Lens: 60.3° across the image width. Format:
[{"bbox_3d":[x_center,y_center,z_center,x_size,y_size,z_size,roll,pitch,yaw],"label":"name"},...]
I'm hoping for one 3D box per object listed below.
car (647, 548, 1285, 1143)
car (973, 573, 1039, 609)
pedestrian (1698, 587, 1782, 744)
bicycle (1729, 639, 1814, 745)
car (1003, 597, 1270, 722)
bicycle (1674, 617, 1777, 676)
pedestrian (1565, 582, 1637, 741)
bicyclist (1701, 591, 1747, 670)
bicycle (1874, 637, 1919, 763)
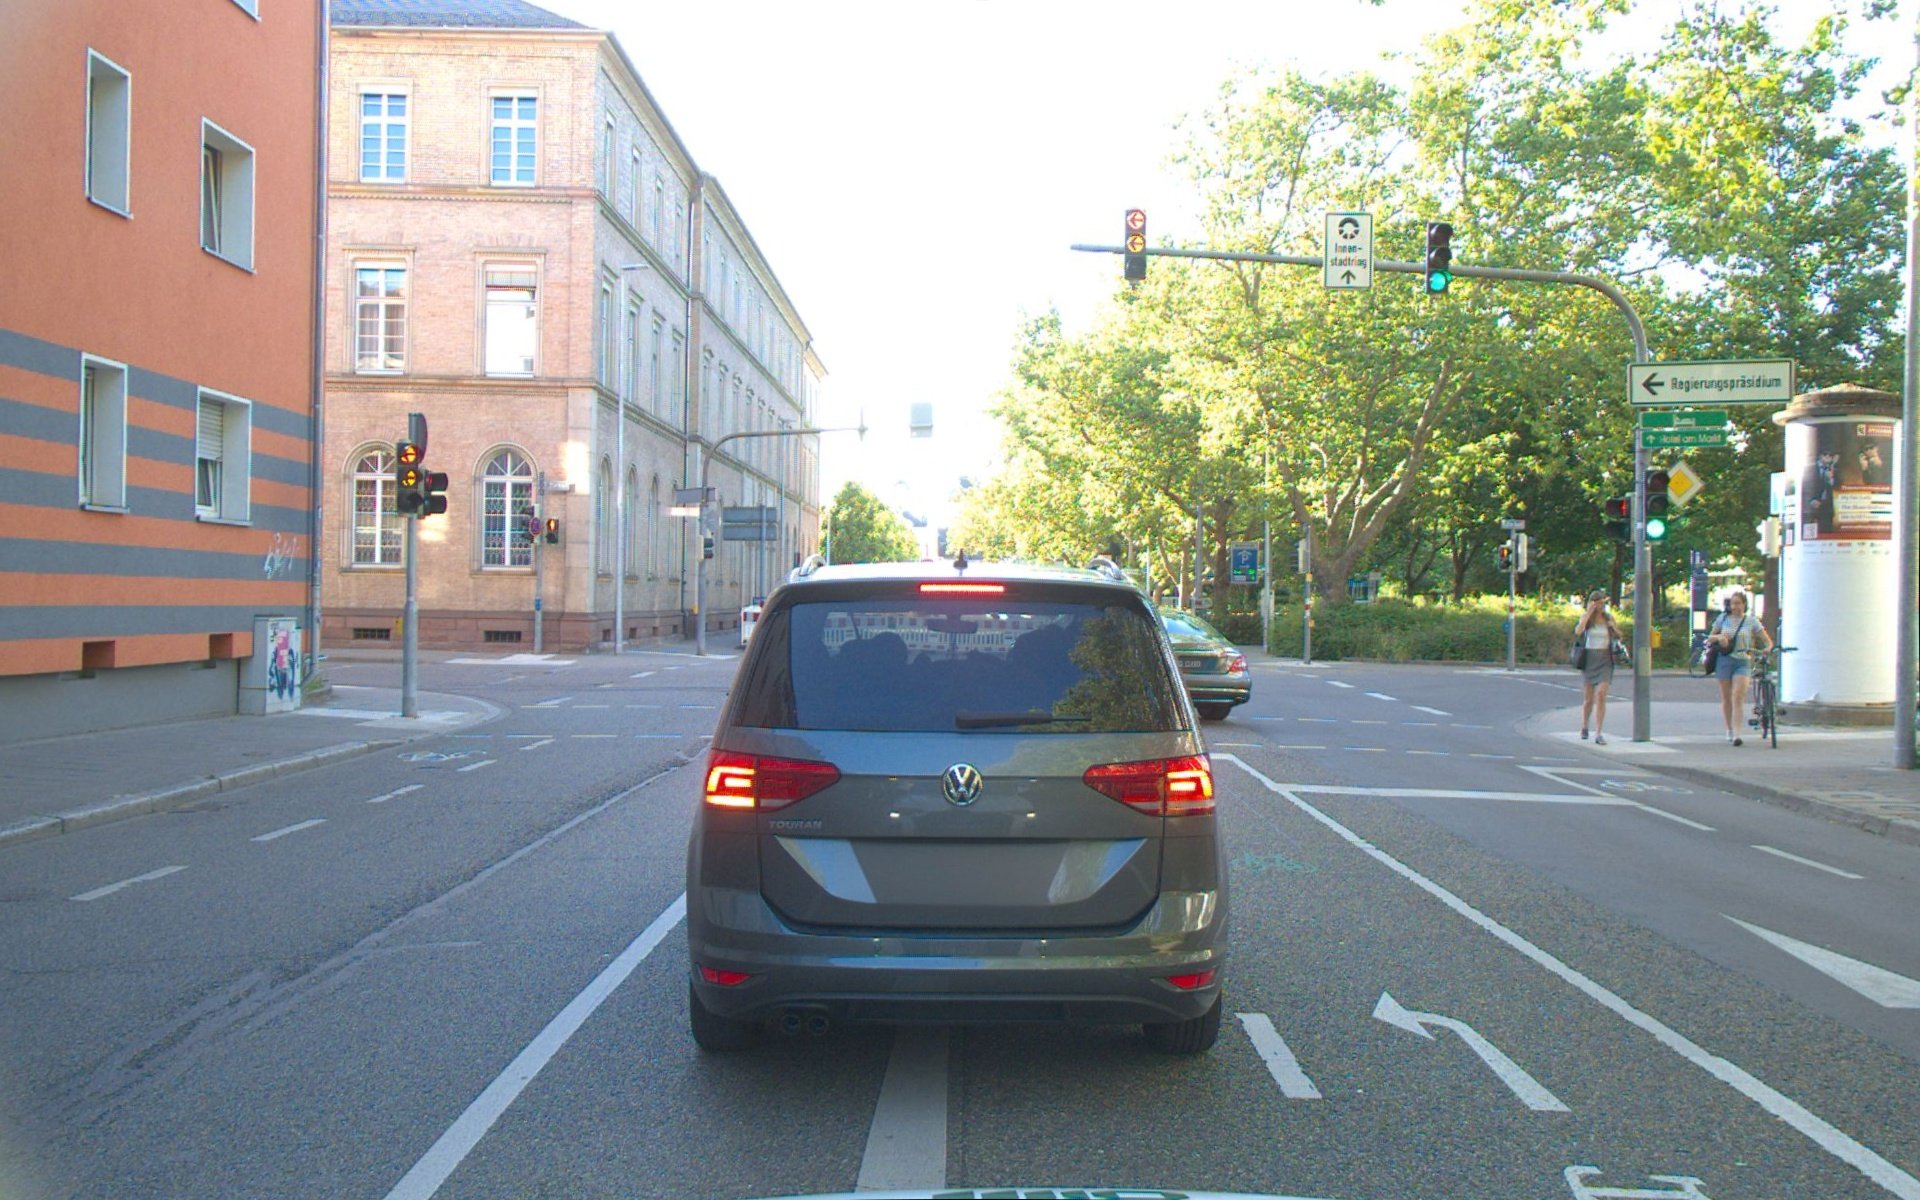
[{"bbox_3d":[0.079,0.688,6.620,1.772,1.640,4.001,0,0,2],"label":"car"},{"bbox_3d":[2.414,-0.492,86.949,1.694,1.639,3.866,5,0,-28],"label":"car"},{"bbox_3d":[8.891,0.726,18.891,0.668,1.727,0.971,1,0,15],"label":"pedestrian"},{"bbox_3d":[9.272,1.025,18.940,0.513,1.119,1.742,1,0,15],"label":"bicycle"},{"bbox_3d":[2.185,0.719,21.874,1.814,1.454,4.494,2,0,-18],"label":"car"},{"bbox_3d":[17.048,1.039,36.862,1.989,1.242,0.599,1,0,0],"label":"bicycle"},{"bbox_3d":[7.612,0.718,19.679,0.716,1.840,0.909,0,-1,17],"label":"pedestrian"},{"bbox_3d":[17.022,0.684,36.851,0.695,1.727,0.675,1,0,0],"label":"bicyclist"},{"bbox_3d":[10.216,1.009,16.471,1.935,1.210,0.528,1,0,-1],"label":"bicycle"}]
